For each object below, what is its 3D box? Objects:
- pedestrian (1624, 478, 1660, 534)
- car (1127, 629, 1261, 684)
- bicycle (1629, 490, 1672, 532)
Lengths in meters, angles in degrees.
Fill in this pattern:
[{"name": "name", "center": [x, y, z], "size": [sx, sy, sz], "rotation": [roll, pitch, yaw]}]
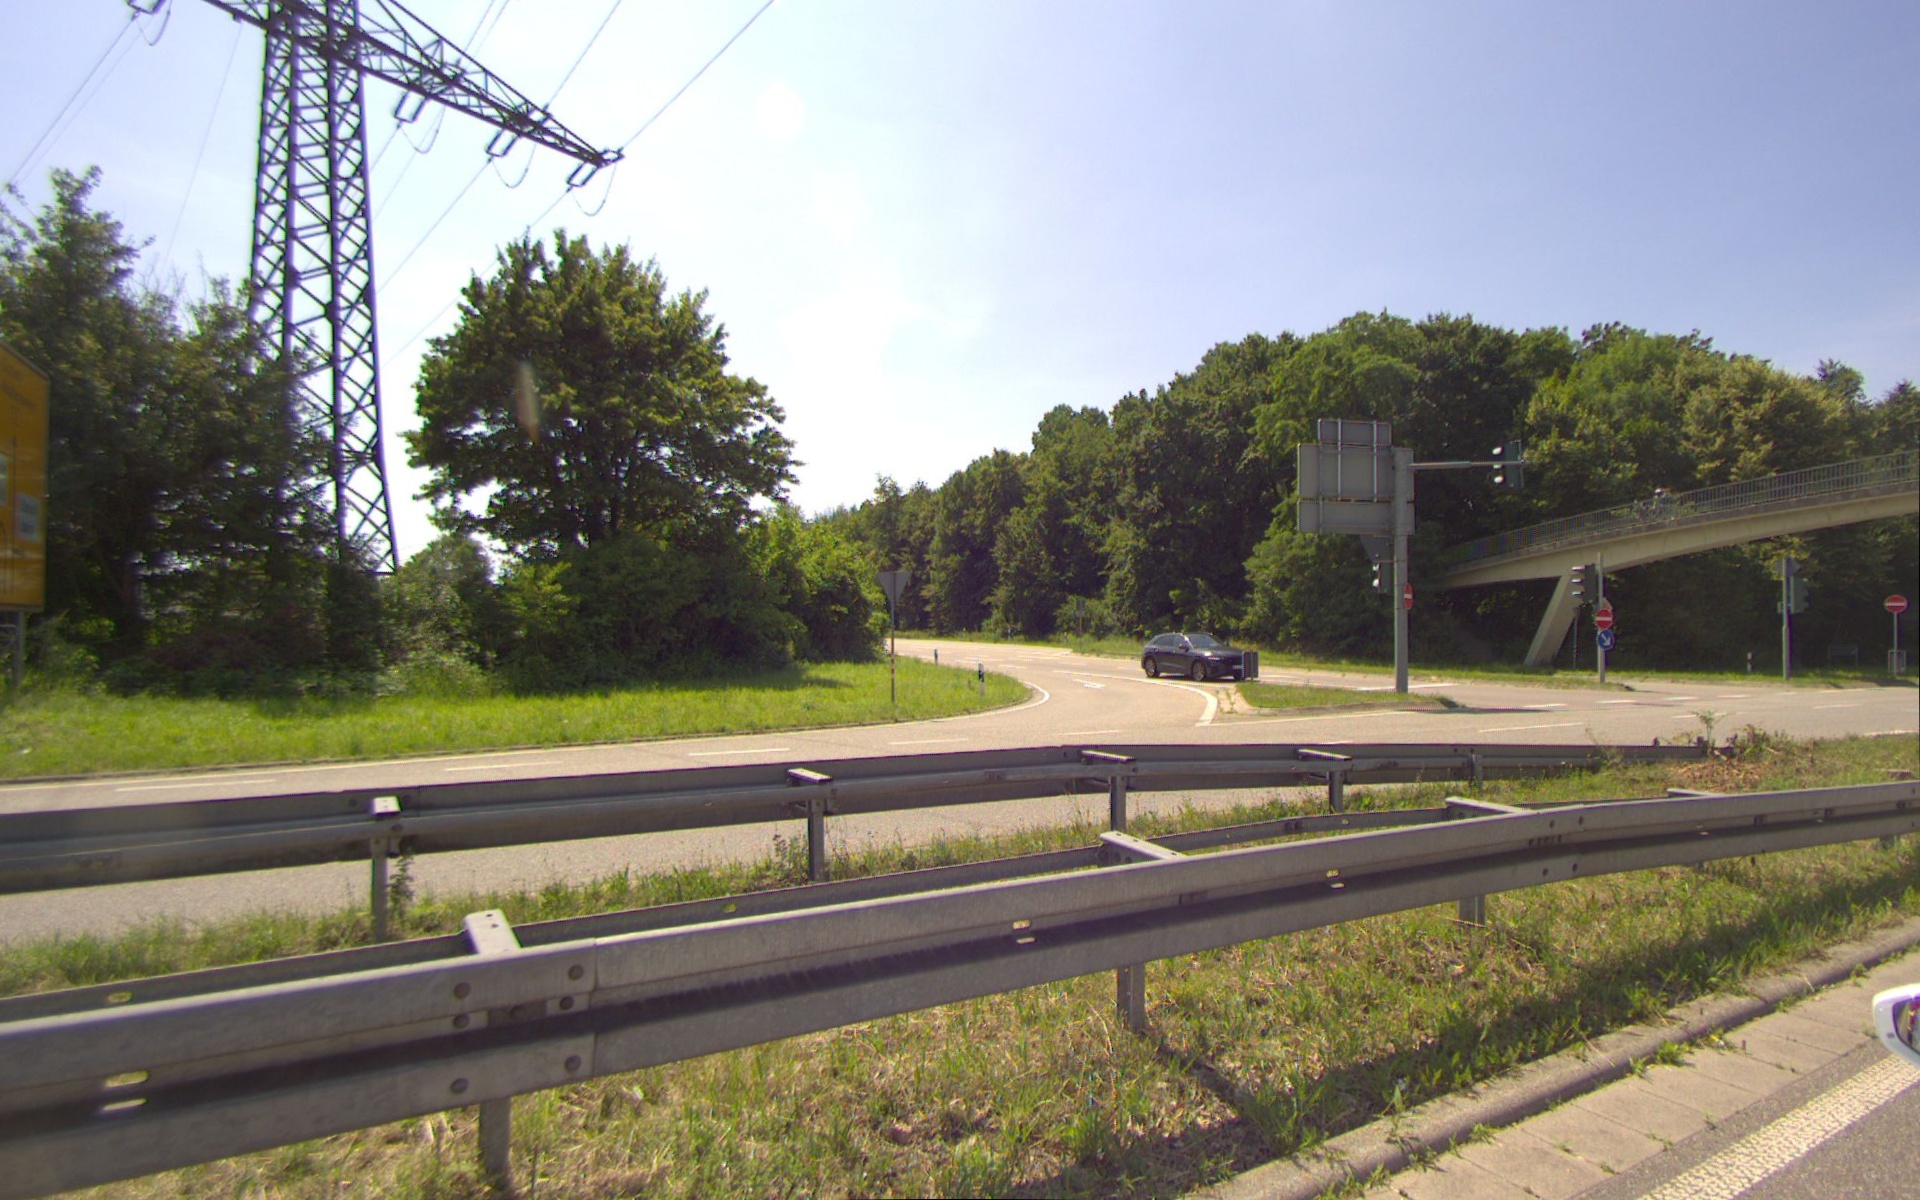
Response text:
[{"name": "pedestrian", "center": [28.408, -3.899, 41.841], "size": [0.916, 2.167, 0.783], "rotation": [2, -3, -14]}, {"name": "car", "center": [8.295, 1.972, 36.175], "size": [2.020, 1.721, 5.057], "rotation": [-2, -1, -24]}, {"name": "bicycle", "center": [28.274, -3.647, 41.167], "size": [0.462, 1.493, 1.528], "rotation": [2, -3, -14]}]
